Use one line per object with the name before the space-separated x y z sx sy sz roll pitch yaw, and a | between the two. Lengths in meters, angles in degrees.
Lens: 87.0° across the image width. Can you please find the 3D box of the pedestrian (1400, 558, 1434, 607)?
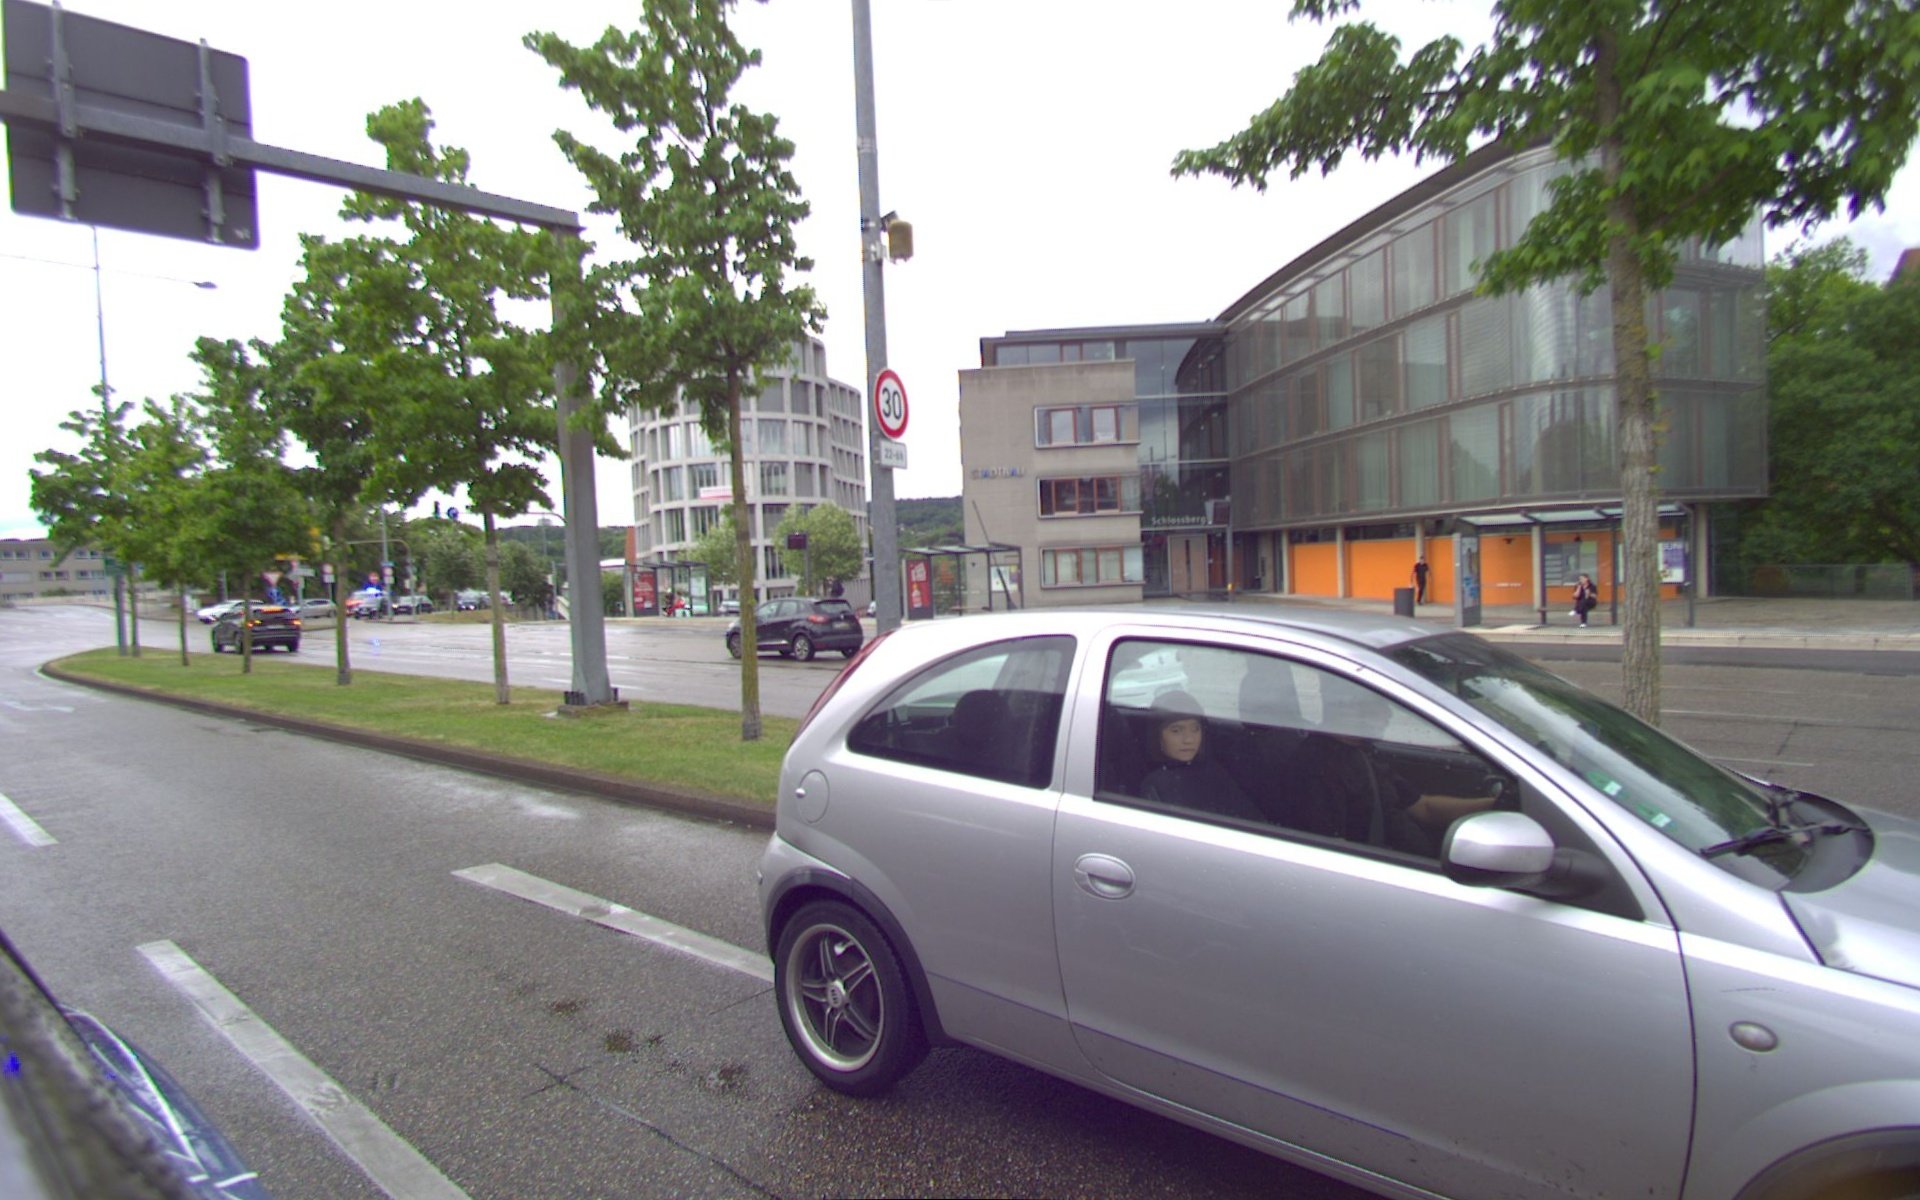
pedestrian | 15.737 -0.597 34.840 0.697 1.666 0.852 -1 0 -6

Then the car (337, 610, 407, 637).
car | -40.859 1.593 70.486 2.164 1.725 4.919 -1 0 -3

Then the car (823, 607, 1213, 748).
car | 0.530 0.829 12.626 4.858 1.392 1.706 -1 0 42

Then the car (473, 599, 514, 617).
car | -47.160 0.786 102.368 2.163 1.725 4.922 -1 0 -5

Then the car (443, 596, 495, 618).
car | -41.094 0.571 84.806 2.164 1.725 4.920 -1 0 -3

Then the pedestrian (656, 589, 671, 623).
pedestrian | -14.728 0.293 50.333 0.501 1.647 0.497 -1 0 41

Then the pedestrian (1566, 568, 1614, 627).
pedestrian | 14.609 -0.053 23.478 0.790 1.334 0.793 -1 0 42

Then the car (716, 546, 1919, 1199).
car | 1.185 0.655 2.591 3.733 1.469 1.607 -1 0 40

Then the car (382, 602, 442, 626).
car | -42.405 1.052 78.426 2.164 1.725 4.919 -1 0 -3

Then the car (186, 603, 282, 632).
car | -48.818 1.155 68.199 2.179 1.725 4.885 -1 0 19

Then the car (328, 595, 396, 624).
car | -44.747 0.665 75.854 2.276 2.029 5.038 -1 0 -3

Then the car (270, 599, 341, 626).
car | -47.494 0.869 73.547 1.982 1.807 3.979 -1 0 16

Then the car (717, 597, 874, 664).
car | -4.209 0.735 25.590 4.078 1.542 1.752 -1 0 42

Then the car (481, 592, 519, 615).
car | -42.762 0.354 94.153 1.969 2.029 4.005 -2 0 -6

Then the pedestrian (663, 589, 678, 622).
pedestrian | -14.557 0.287 50.901 0.535 1.647 0.514 -1 0 41

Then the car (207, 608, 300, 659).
car | -25.240 1.142 36.103 4.600 1.652 1.802 -1 1 43

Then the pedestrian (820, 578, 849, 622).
pedestrian | -5.131 0.004 41.463 0.964 1.773 0.783 -1 0 12
